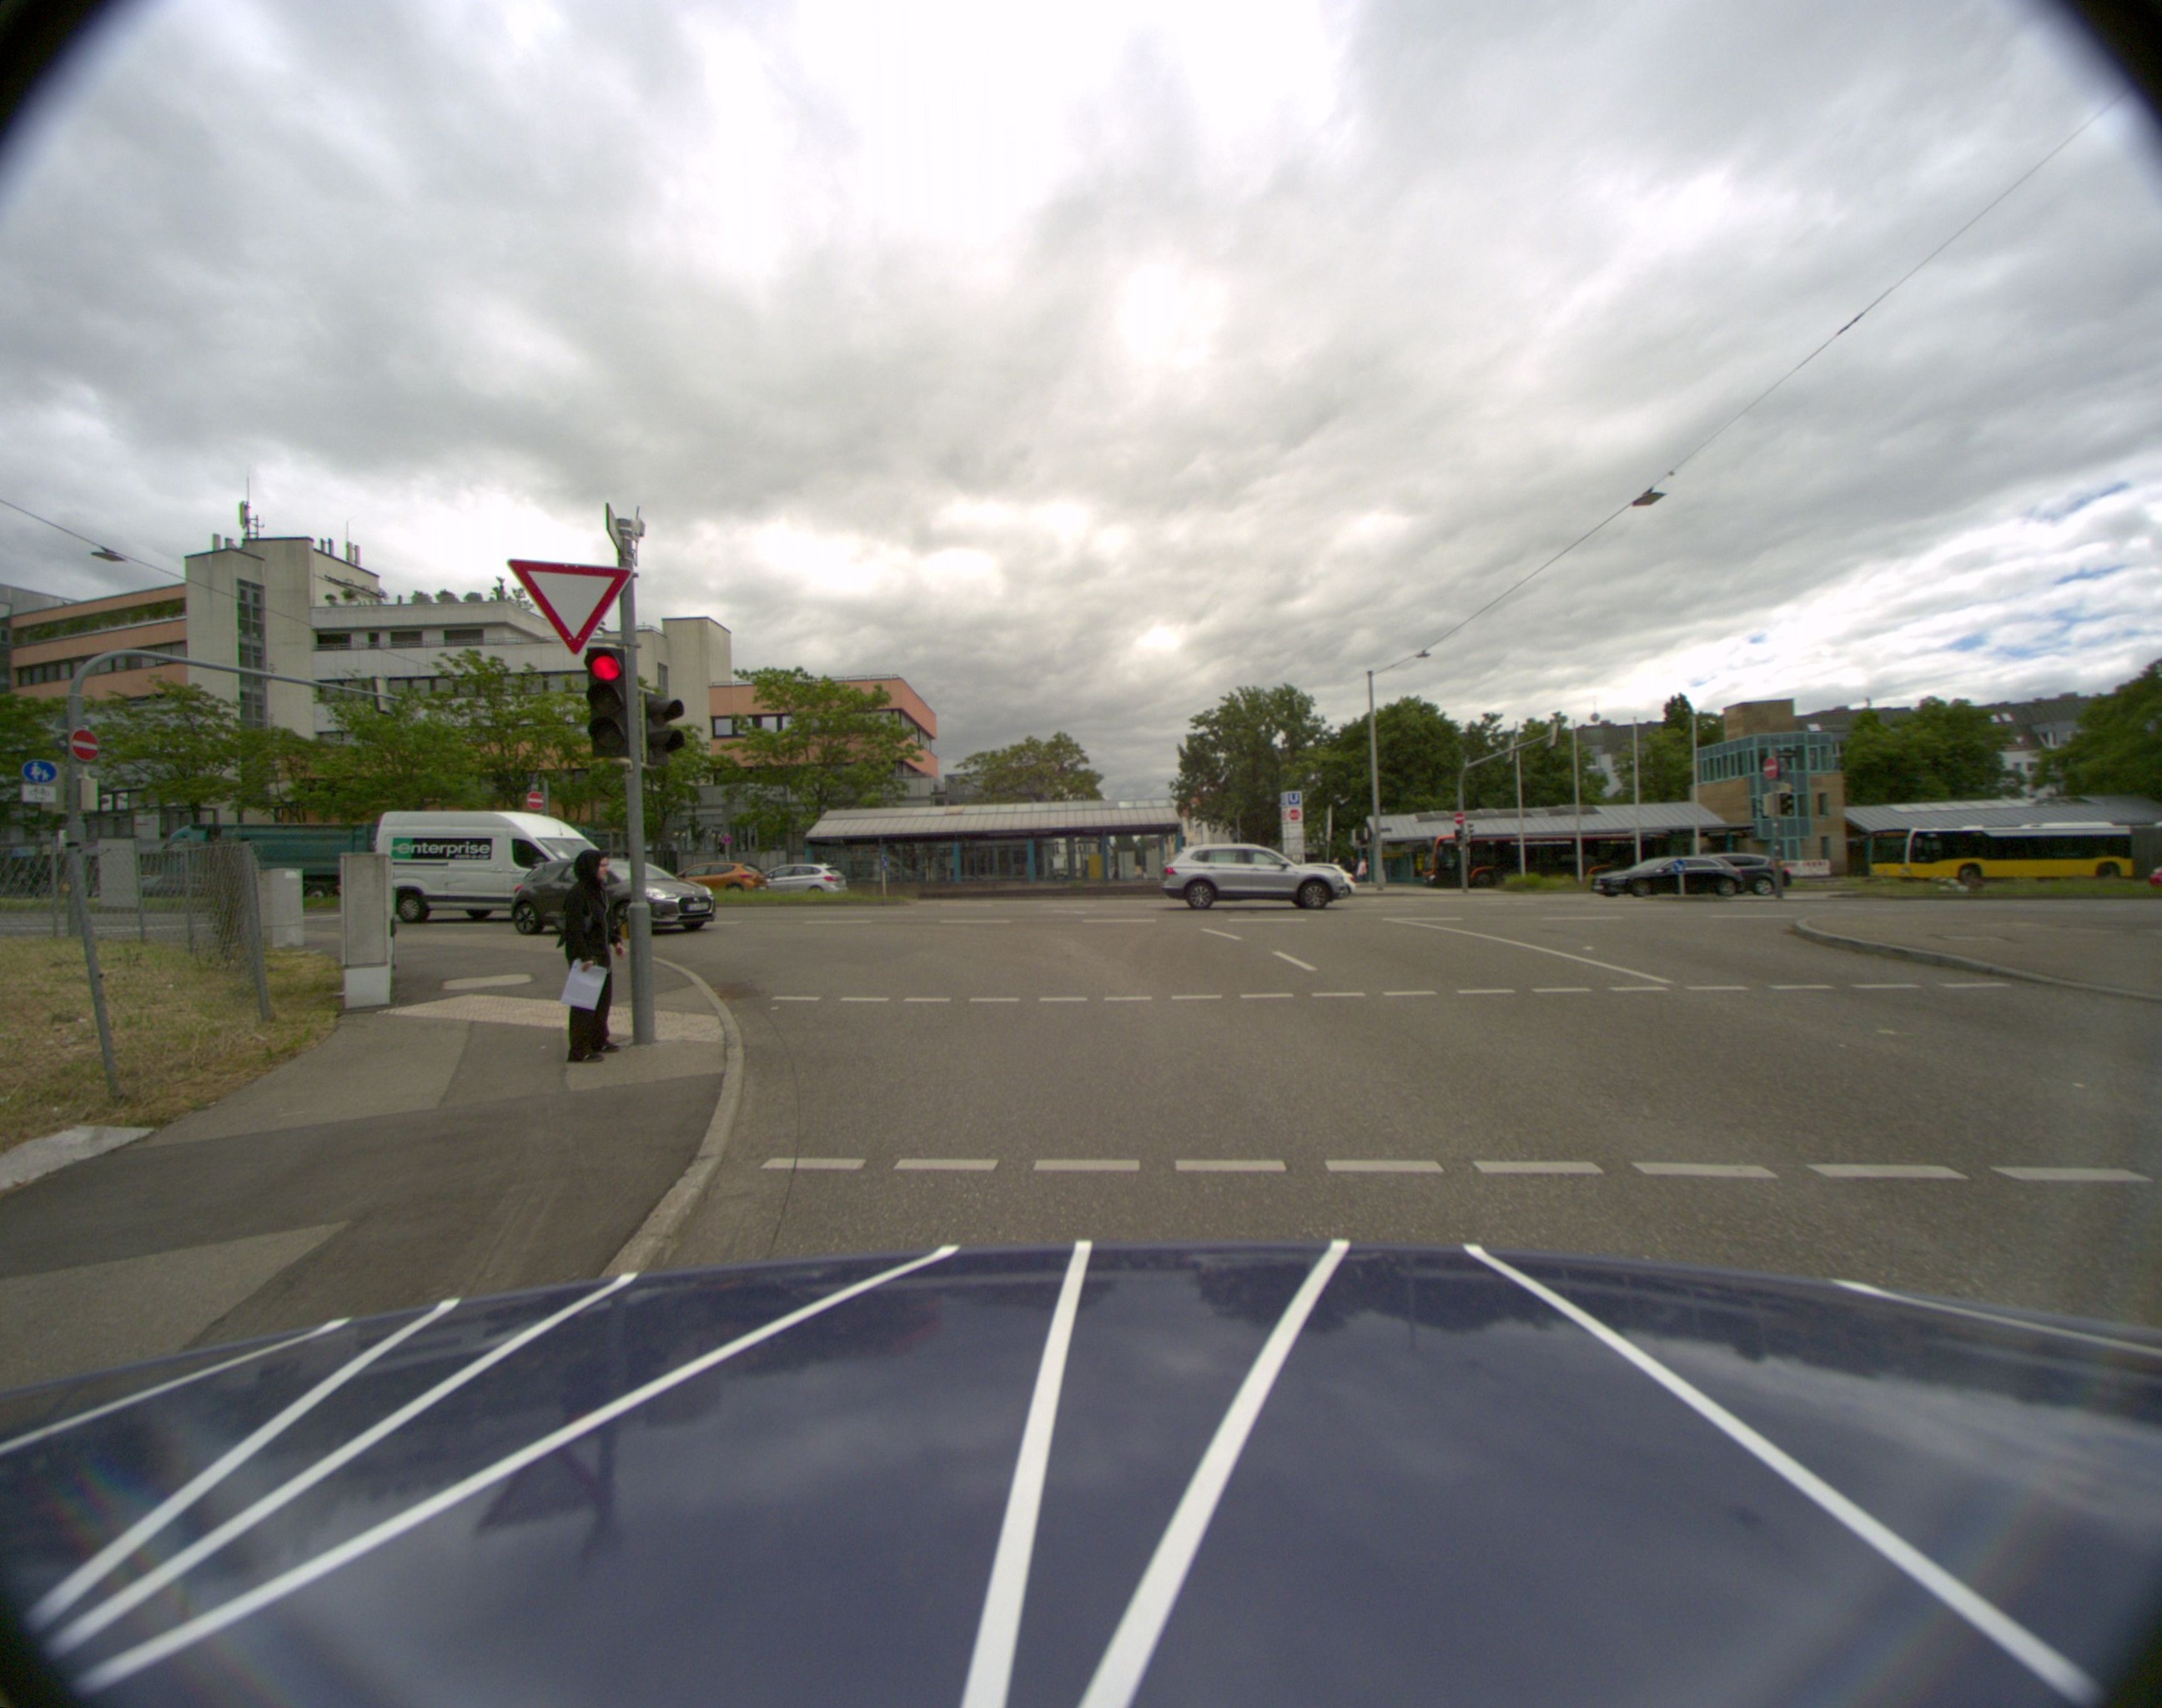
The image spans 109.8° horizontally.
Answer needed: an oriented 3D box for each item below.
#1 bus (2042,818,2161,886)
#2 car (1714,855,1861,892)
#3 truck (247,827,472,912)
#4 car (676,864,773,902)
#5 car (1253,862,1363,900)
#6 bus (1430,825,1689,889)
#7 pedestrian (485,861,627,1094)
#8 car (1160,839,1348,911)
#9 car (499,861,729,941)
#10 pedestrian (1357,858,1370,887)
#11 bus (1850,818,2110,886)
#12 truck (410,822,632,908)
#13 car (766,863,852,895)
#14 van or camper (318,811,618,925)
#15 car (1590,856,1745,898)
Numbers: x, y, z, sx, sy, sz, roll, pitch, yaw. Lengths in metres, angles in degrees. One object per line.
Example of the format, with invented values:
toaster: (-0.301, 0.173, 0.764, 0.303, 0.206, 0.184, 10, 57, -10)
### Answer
bus: (57.609, -0.119, 39.825, 9.213, 3.463, 3.224, 0, 0, 10)
car: (26.931, 0.736, 29.045, 3.913, 1.303, 1.668, 1, 0, 4)
truck: (-33.378, 0.688, 35.340, 7.939, 3.562, 2.721, -2, 1, 3)
car: (-13.046, 1.048, 27.854, 2.994, 1.305, 1.210, 1, 1, 4)
car: (8.959, 1.050, 30.248, 3.931, 1.372, 1.632, 1, 0, 4)
bus: (25.256, 0.235, 40.623, 11.841, 3.044, 2.002, -1, -1, 9)
pedestrian: (-3.824, 0.855, 5.577, 0.552, 1.582, 0.672, 1, 1, 3)
car: (4.360, 0.539, 19.685, 4.506, 1.660, 2.001, -2, -1, 8)
car: (-8.980, 0.855, 14.681, 3.774, 1.390, 1.649, 0, 0, 16)
pedestrian: (19.301, 1.256, 51.883, 0.731, 2.002, 0.853, 1, 1, 16)
bus: (48.517, -0.080, 41.362, 9.237, 3.463, 3.224, 0, 0, 10)
truck: (-25.558, 0.480, 34.909, 8.172, 3.562, 2.721, -2, 1, 3)
car: (-10.957, 0.988, 30.717, 2.994, 1.215, 1.294, 1, 1, 4)
van or camper: (-15.225, 0.320, 19.088, 5.931, 2.657, 2.259, 0, 0, 5)
car: (19.941, 0.778, 25.969, 3.913, 1.303, 1.668, -1, 0, 4)
